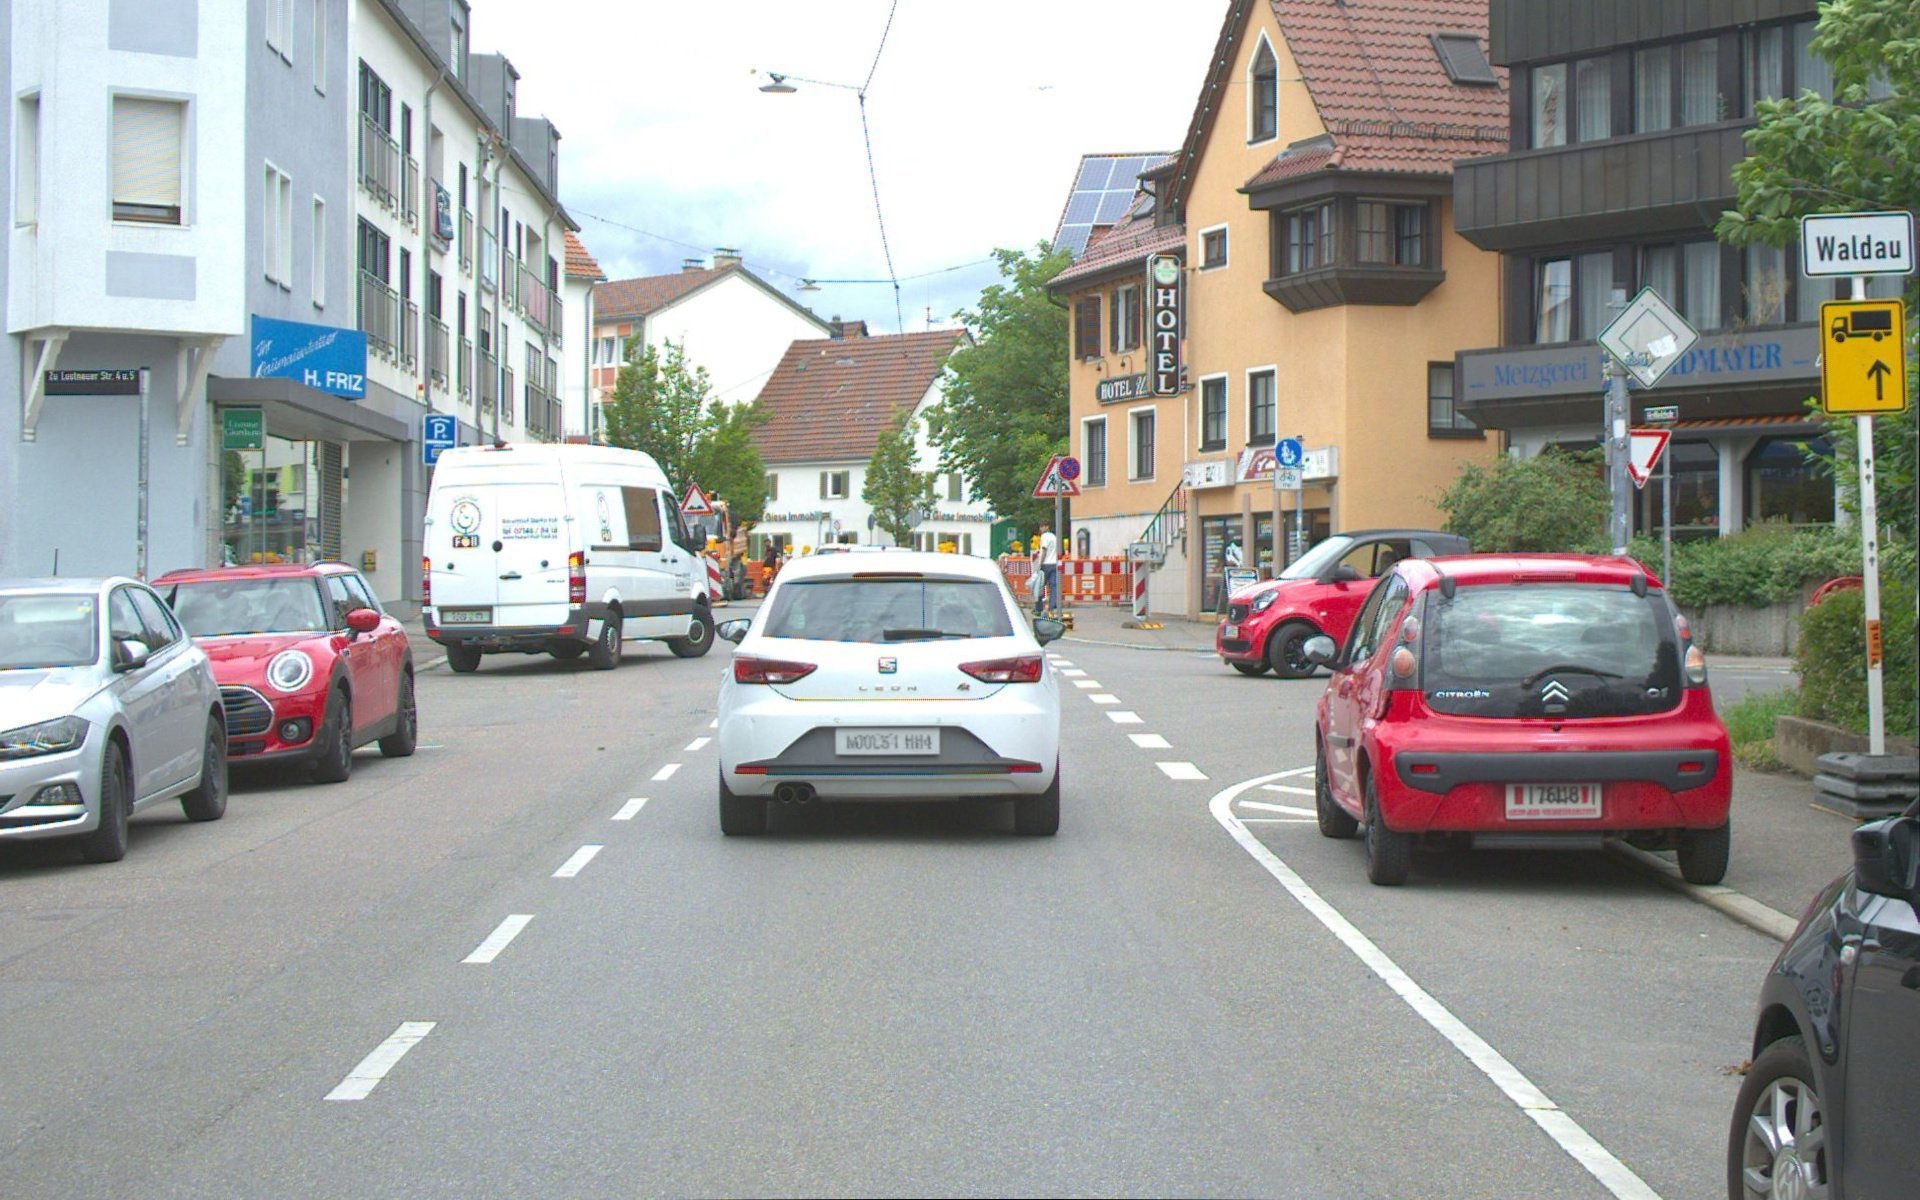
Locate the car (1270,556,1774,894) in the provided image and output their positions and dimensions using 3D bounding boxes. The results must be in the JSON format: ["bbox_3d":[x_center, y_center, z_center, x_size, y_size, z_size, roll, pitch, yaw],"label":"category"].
[{"bbox_3d":[2.597,0.512,16.776,1.758,1.447,4.000,0,1,-1],"label":"car"}]

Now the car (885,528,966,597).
[{"bbox_3d":[-0.765,-0.857,76.877,1.761,1.492,3.789,0,1,0],"label":"car"}]

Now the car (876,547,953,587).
[{"bbox_3d":[-1.623,-1.213,124.755,1.760,1.447,3.997,0,1,15],"label":"car"}]

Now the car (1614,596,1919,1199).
[{"bbox_3d":[2.478,0.742,5.851,1.758,1.447,4.001,0,1,-3],"label":"car"}]

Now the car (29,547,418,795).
[{"bbox_3d":[-4.952,0.413,23.663,1.799,1.474,4.051,-3,1,-1],"label":"car"}]

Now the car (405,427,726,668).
[{"bbox_3d":[-4.637,-0.647,41.385,2.153,2.677,5.542,1,1,12],"label":"car"}]

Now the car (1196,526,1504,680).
[{"bbox_3d":[4.102,0.022,36.402,2.807,1.507,1.709,1,2,-11],"label":"car"}]

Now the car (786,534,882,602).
[{"bbox_3d":[-2.779,-0.719,75.289,1.758,1.447,4.001,0,1,-7],"label":"car"}]

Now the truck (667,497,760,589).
[{"bbox_3d":[-6.805,-1.601,95.298,2.152,2.451,5.395,1,1,0],"label":"truck"}]

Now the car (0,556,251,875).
[{"bbox_3d":[-5.093,0.554,18.265,1.799,1.474,4.051,-3,1,-1],"label":"car"}]

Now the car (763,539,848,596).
[{"bbox_3d":[-4.730,-1.024,105.671,1.795,1.696,3.998,1,1,10],"label":"car"}]

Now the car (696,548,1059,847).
[{"bbox_3d":[-0.408,0.445,18.673,1.758,1.447,4.000,0,1,0],"label":"car"}]

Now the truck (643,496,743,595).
[{"bbox_3d":[-6.897,-1.431,89.387,2.152,2.451,5.395,1,1,0],"label":"truck"}]

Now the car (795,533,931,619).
[{"bbox_3d":[-1.727,-0.440,60.047,1.758,1.447,4.001,0,1,-11],"label":"car"}]

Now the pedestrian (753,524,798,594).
[{"bbox_3d":[-5.344,-1.206,99.771,1.228,2.007,1.176,0,1,0],"label":"pedestrian"}]
